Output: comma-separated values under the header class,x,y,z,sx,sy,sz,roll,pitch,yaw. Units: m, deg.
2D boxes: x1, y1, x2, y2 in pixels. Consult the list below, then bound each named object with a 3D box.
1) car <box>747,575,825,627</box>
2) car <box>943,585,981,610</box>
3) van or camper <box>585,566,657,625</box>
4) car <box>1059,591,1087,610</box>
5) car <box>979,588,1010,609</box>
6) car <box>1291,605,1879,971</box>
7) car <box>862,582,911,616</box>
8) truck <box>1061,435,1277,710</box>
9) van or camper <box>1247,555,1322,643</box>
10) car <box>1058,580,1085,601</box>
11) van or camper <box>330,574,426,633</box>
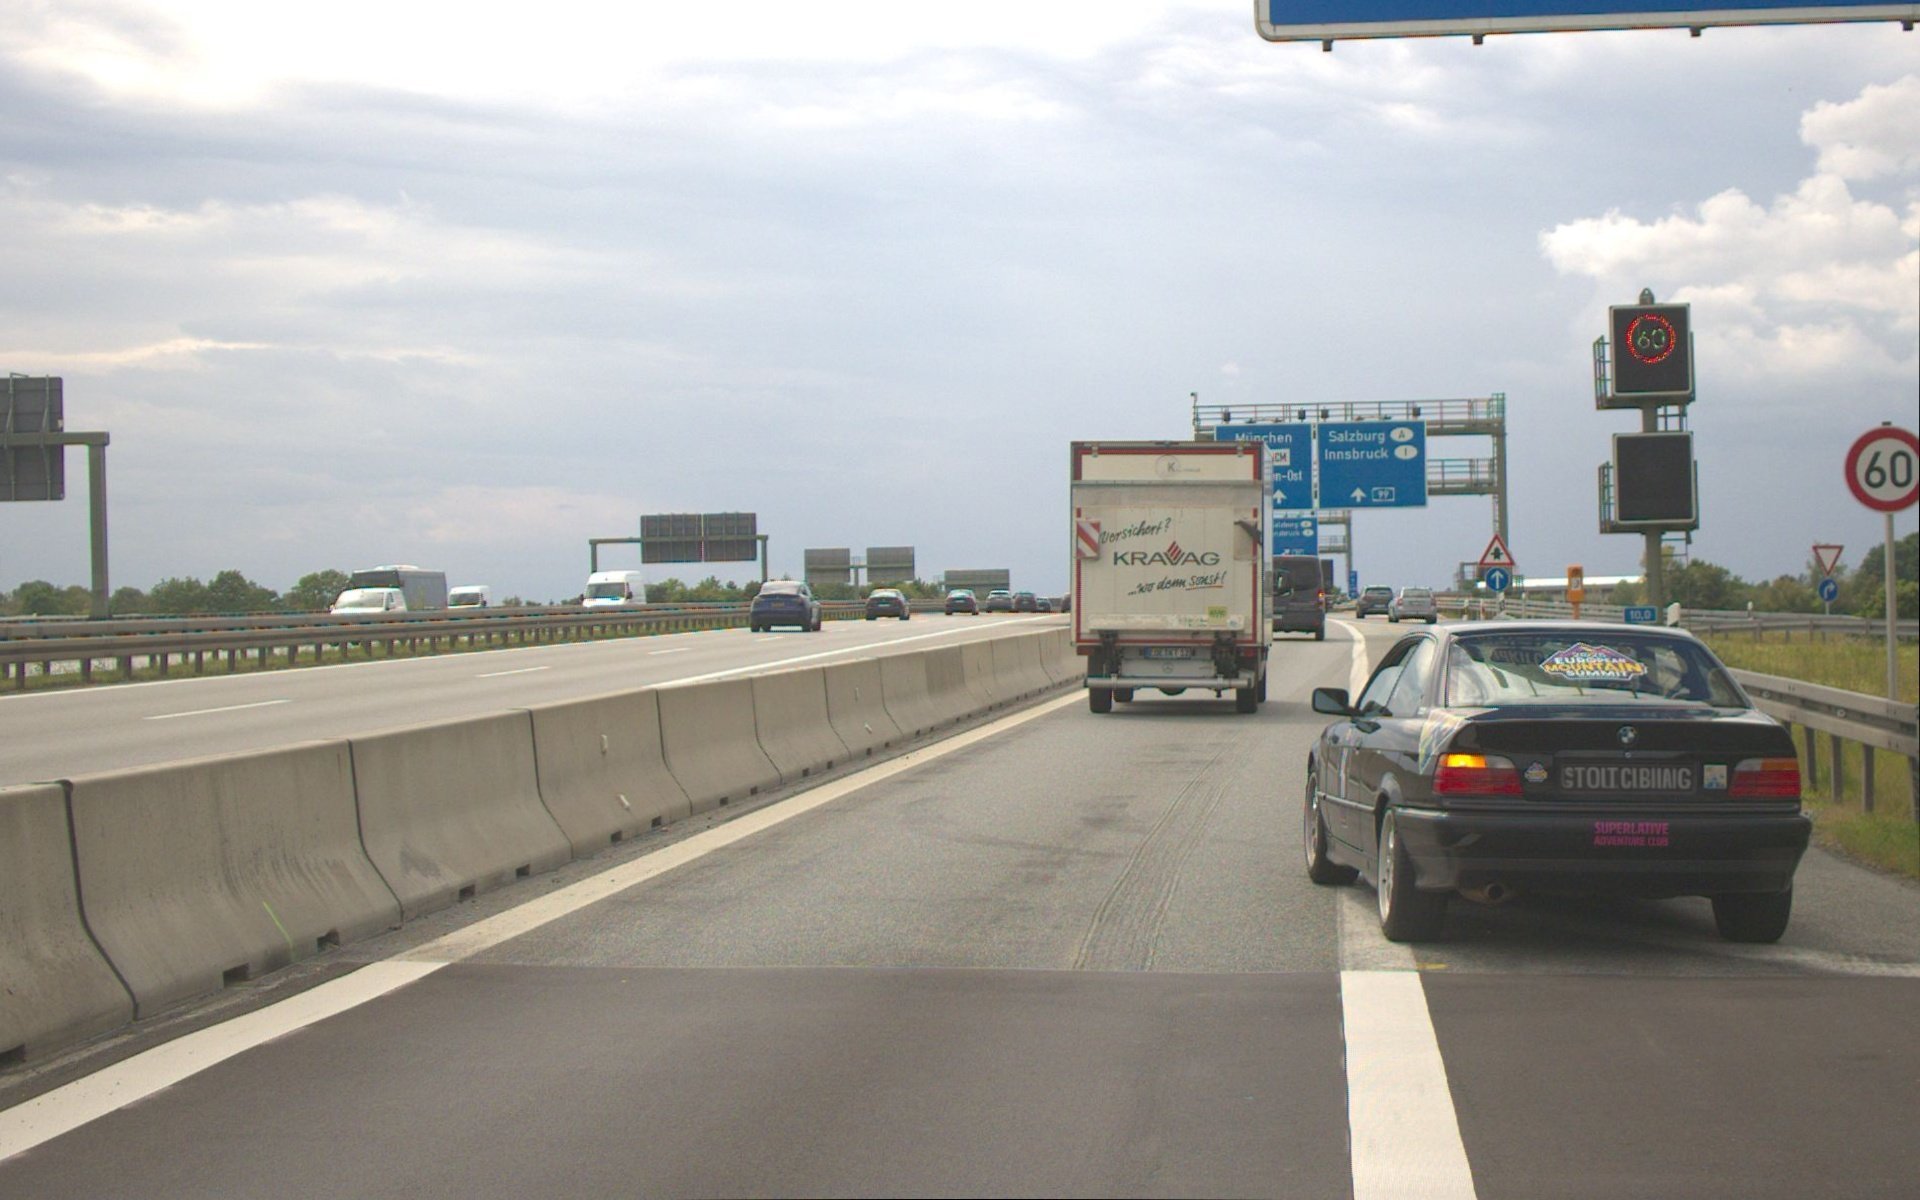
class,x,y,z,sx,sy,sz,roll,pitch,yaw
car,-5.582,0.024,110.852,1.994,1.656,4.383,0,0,4
car,0.122,-0.156,198.227,1.994,1.393,4.000,0,0,3
van or camper,-15.303,-0.232,155.609,2.187,2.610,6.904,0,0,3
car,8.368,0.021,253.762,1.994,1.393,4.000,0,0,3
car,2.421,-0.114,240.549,1.994,1.393,4.000,0,0,3
car,2.621,0.732,15.386,1.782,1.373,4.137,1,0,-1
car,-3.369,-0.052,158.095,1.994,1.536,4.000,0,0,3
truck,2.640,-0.331,41.782,2.404,3.079,6.369,0,0,5
van or camper,8.985,-0.052,95.328,2.000,2.362,6.125,0,0,5
car,8.268,-0.733,255.094,1.774,1.525,3.999,0,0,5
van or camper,-18.379,0.105,108.745,1.994,1.822,4.347,0,0,5
